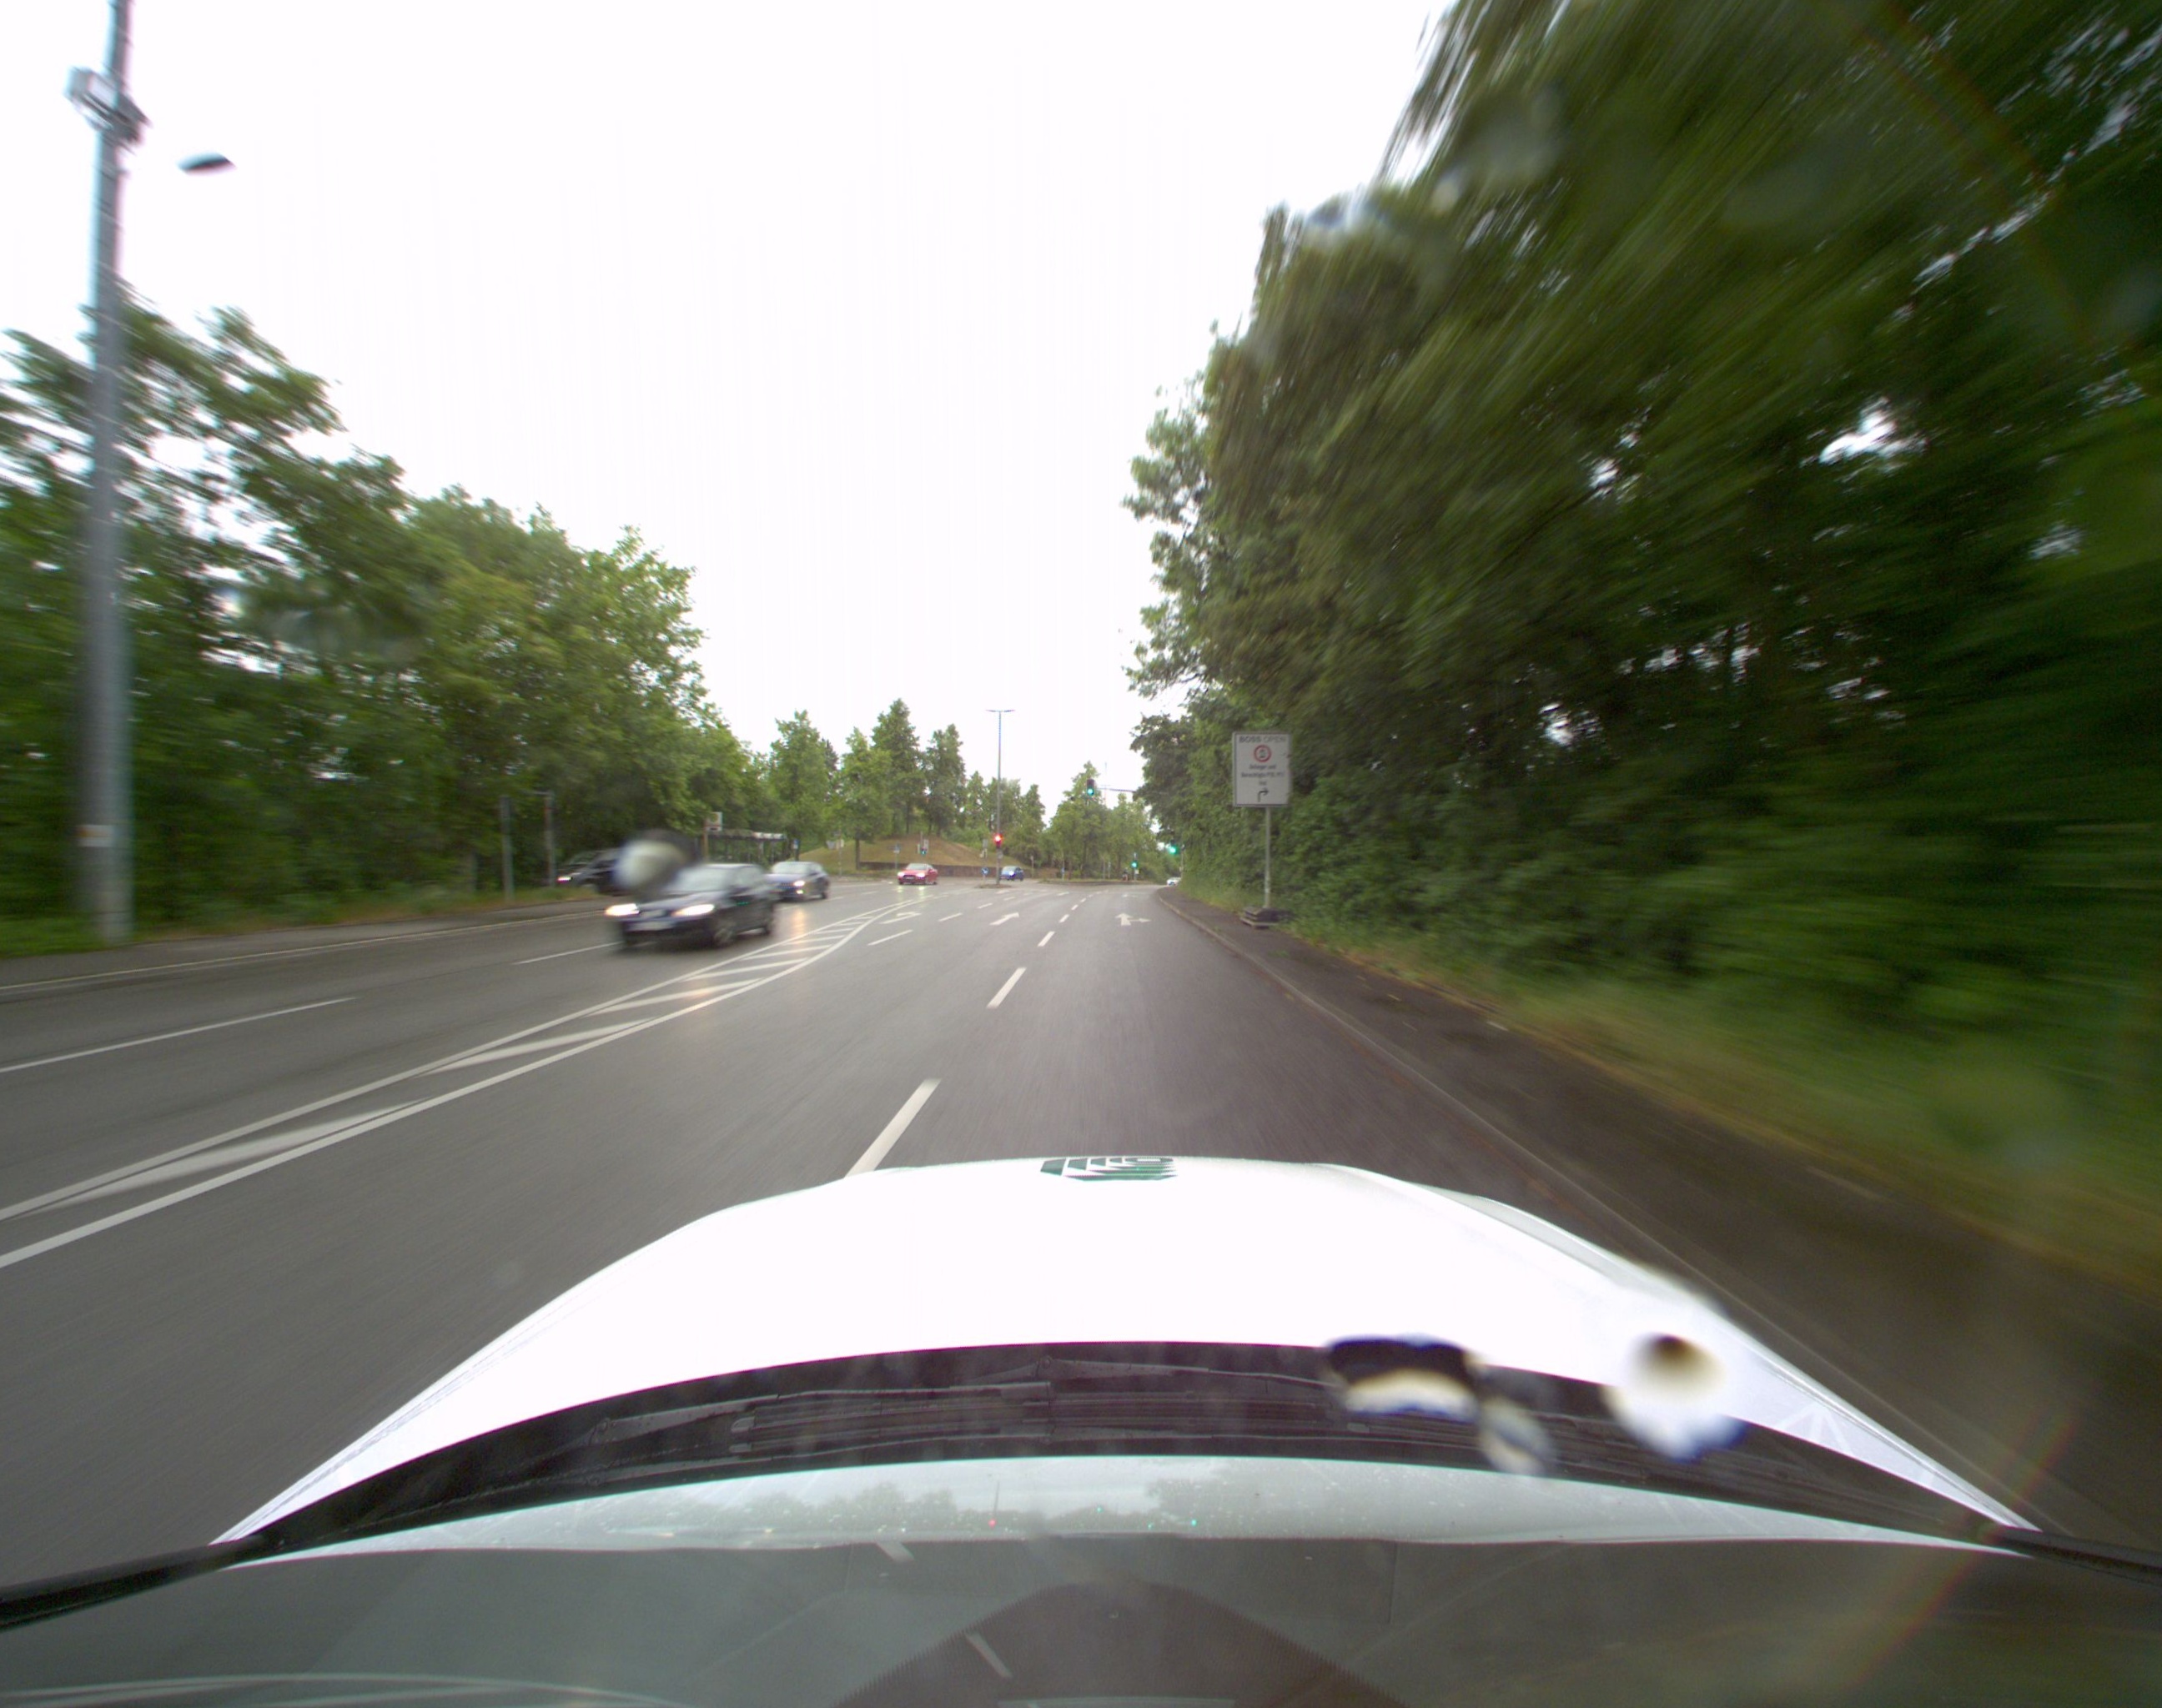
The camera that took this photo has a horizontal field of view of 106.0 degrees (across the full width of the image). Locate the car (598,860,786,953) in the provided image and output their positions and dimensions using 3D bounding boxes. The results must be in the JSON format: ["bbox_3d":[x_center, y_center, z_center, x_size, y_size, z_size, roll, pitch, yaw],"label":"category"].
[{"bbox_3d":[-6.958,0.861,15.082,1.697,1.427,4.073,1,0,-4],"label":"car"}]

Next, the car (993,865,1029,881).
[{"bbox_3d":[-7.002,1.900,81.790,1.975,1.490,3.959,0,0,25],"label":"car"}]

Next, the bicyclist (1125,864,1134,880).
[{"bbox_3d":[5.662,2.135,95.407,0.805,1.753,0.716,4,-6,-40],"label":"bicyclist"}]

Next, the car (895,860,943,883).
[{"bbox_3d":[-10.471,1.117,52.925,1.866,1.374,4.392,0,0,6],"label":"car"}]

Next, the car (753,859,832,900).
[{"bbox_3d":[-10.494,0.884,29.902,1.627,1.394,3.996,0,0,-3],"label":"car"}]

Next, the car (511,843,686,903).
[{"bbox_3d":[-17.695,0.641,30.206,2.083,1.946,5.191,-1,1,27],"label":"car"}]

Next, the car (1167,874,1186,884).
[{"bbox_3d":[16.555,4.368,141.164,1.928,1.636,5.029,1,-3,21],"label":"car"}]

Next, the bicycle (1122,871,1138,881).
[{"bbox_3d":[5.751,2.612,95.496,2.151,1.143,0.547,3,-2,-40],"label":"bicycle"}]
